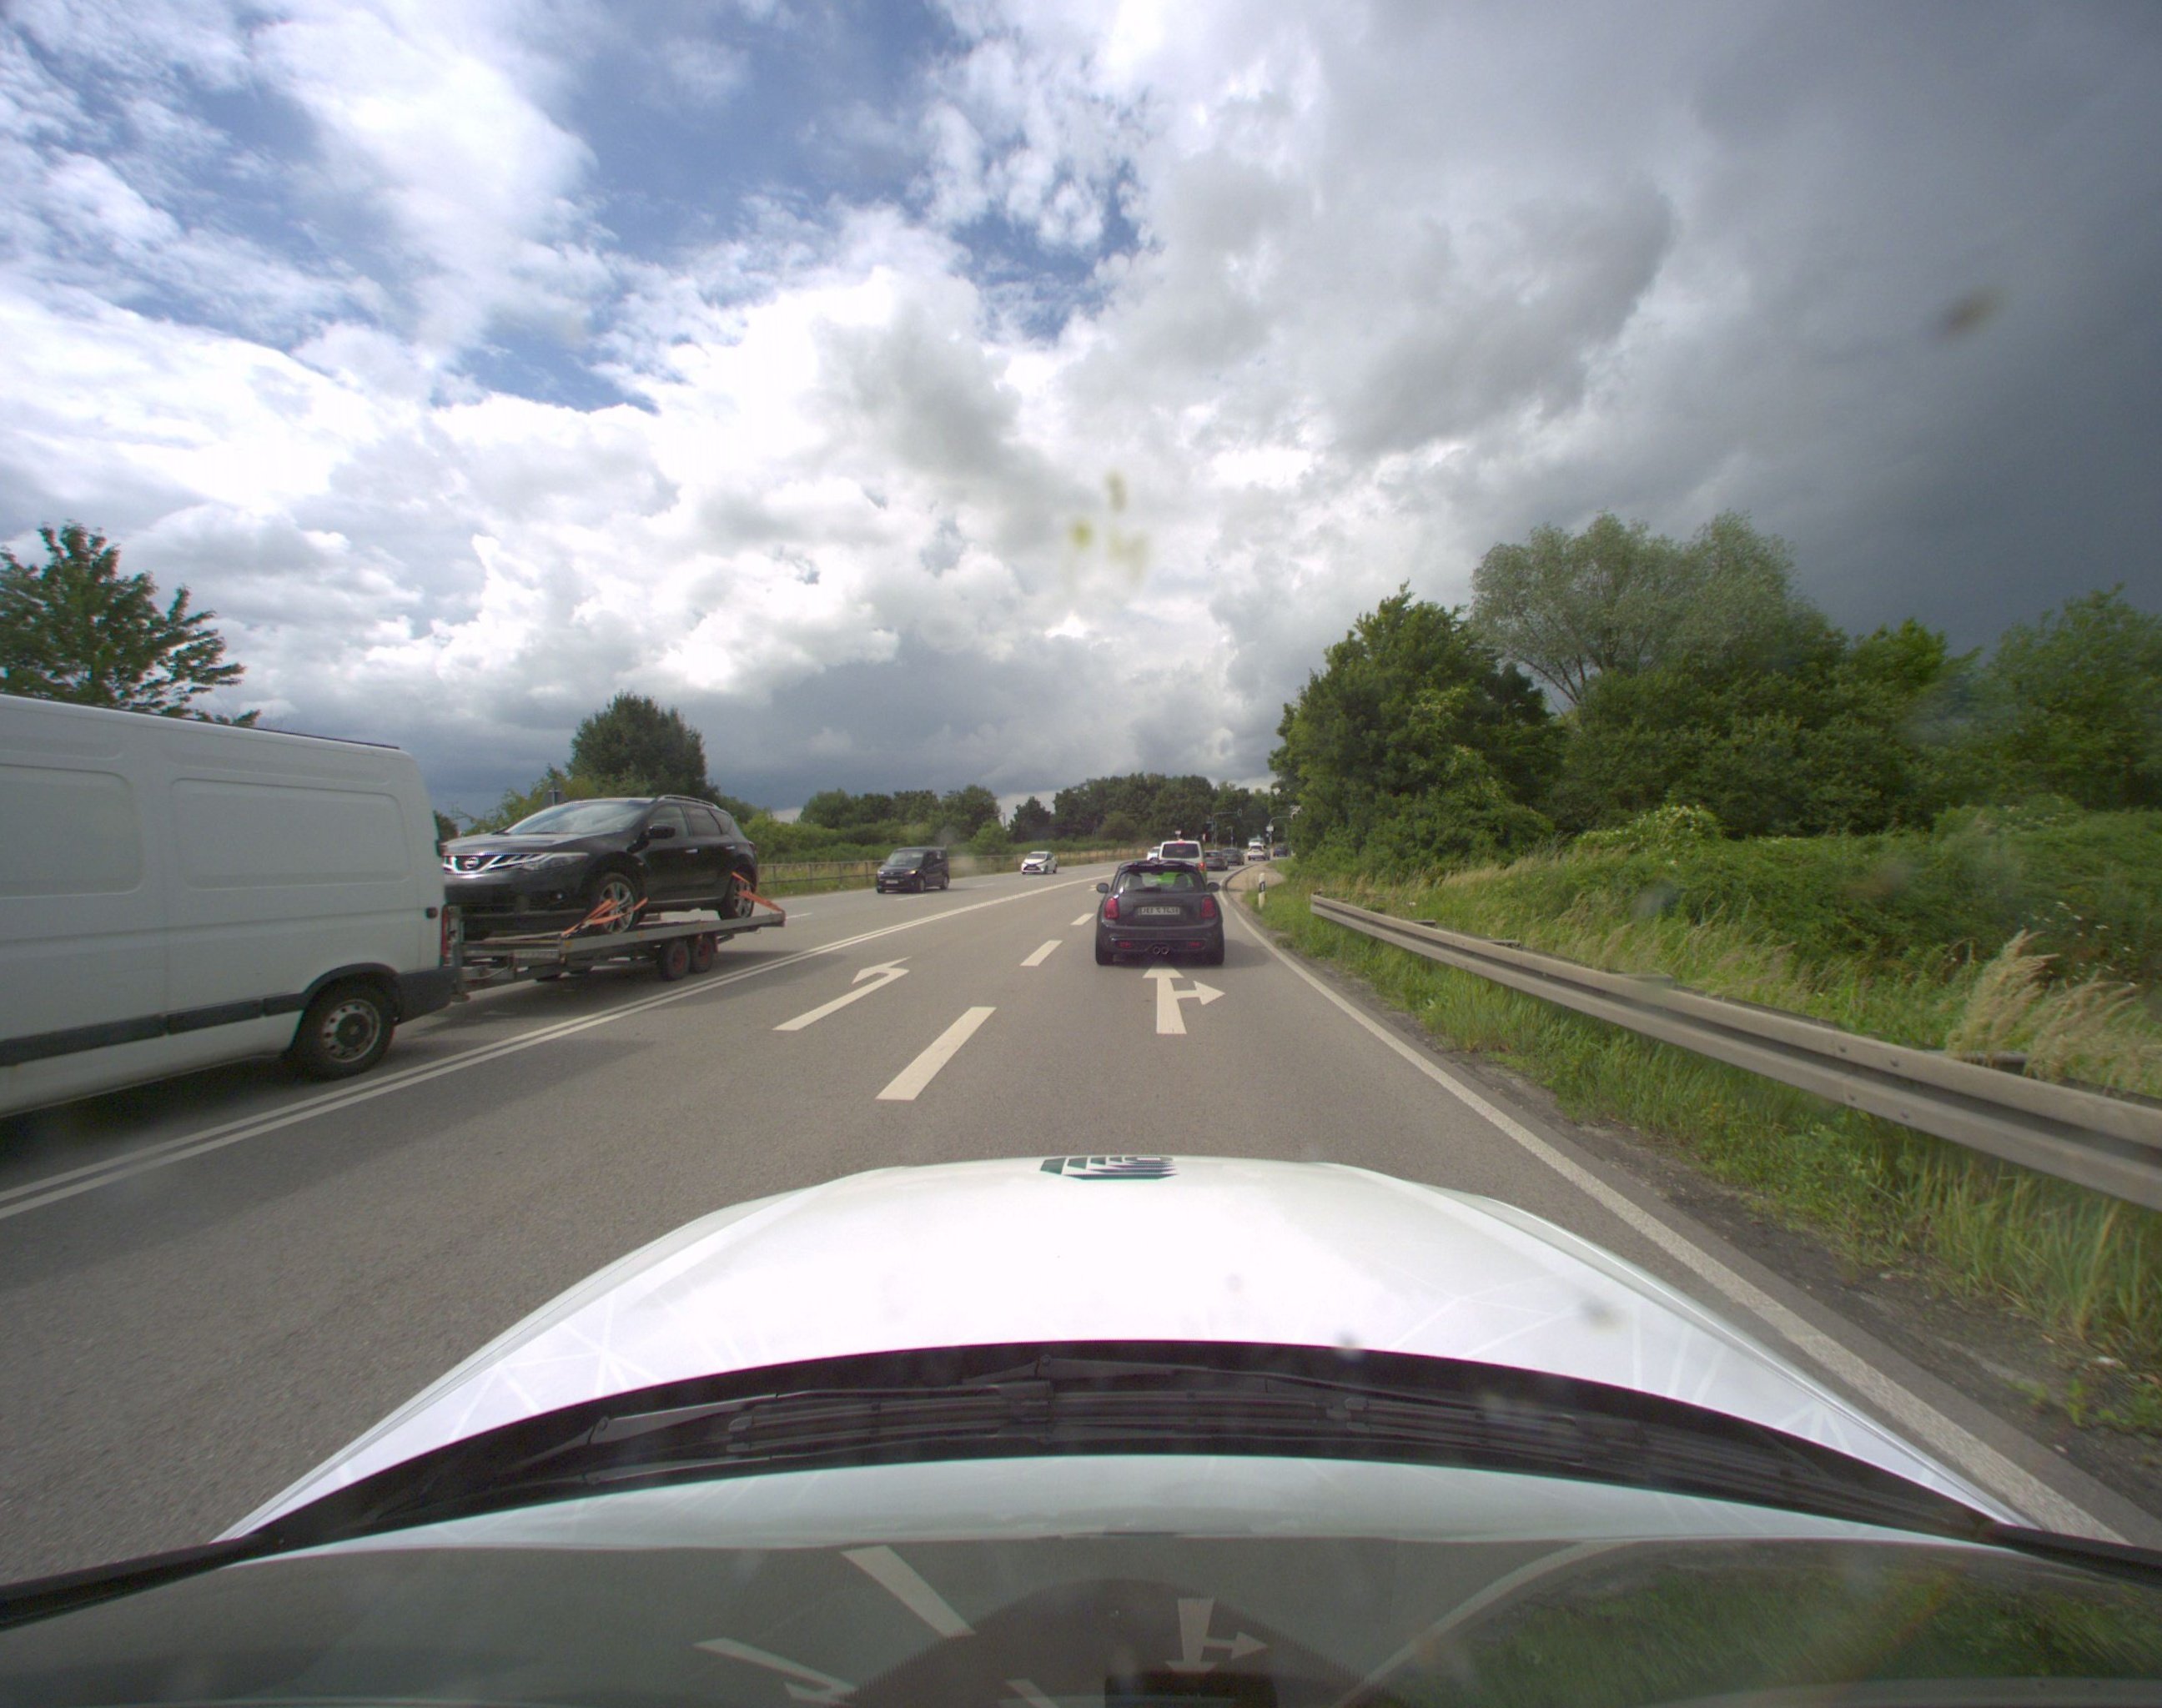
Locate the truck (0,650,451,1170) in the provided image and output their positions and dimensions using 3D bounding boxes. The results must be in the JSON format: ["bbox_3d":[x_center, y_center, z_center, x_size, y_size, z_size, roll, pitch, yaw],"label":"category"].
[{"bbox_3d":[-6.076,0.262,3.913,2.015,2.444,5.028,0,0,3],"label":"truck"}]

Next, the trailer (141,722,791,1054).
[{"bbox_3d":[-5.797,0.239,9.496,2.015,2.444,6.971,0,0,3],"label":"trailer"}]

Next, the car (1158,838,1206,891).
[{"bbox_3d":[4.076,0.399,32.747,1.835,1.987,3.849,0,0,7],"label":"car"}]

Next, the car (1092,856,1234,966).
[{"bbox_3d":[1.090,0.752,12.472,1.838,1.428,3.841,0,0,1],"label":"car"}]

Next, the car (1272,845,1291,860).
[{"bbox_3d":[23.824,-0.189,96.826,1.980,1.684,4.013,1,0,12],"label":"car"}]

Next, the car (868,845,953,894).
[{"bbox_3d":[-6.670,0.567,32.374,1.983,1.797,4.329,0,0,7],"label":"car"}]

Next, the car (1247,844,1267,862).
[{"bbox_3d":[17.967,-0.088,83.122,1.980,1.684,4.013,1,0,12],"label":"car"}]

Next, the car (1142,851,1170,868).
[{"bbox_3d":[6.812,0.473,73.664,1.717,1.518,4.017,1,0,16],"label":"car"}]

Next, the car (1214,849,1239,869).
[{"bbox_3d":[12.406,0.413,69.146,1.980,1.684,3.990,1,0,12],"label":"car"}]

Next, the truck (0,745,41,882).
[{"bbox_3d":[-40.464,-1.458,27.846,2.799,4.996,6.161,0,0,-14],"label":"truck"}]

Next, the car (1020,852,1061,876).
[{"bbox_3d":[-2.624,0.627,53.439,1.865,1.489,3.754,0,0,10],"label":"car"}]

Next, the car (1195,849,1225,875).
[{"bbox_3d":[9.082,0.547,57.302,1.981,1.684,4.011,1,0,10],"label":"car"}]

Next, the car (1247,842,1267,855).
[{"bbox_3d":[28.168,-0.867,130.113,1.975,2.013,4.695,0,0,27],"label":"car"}]
